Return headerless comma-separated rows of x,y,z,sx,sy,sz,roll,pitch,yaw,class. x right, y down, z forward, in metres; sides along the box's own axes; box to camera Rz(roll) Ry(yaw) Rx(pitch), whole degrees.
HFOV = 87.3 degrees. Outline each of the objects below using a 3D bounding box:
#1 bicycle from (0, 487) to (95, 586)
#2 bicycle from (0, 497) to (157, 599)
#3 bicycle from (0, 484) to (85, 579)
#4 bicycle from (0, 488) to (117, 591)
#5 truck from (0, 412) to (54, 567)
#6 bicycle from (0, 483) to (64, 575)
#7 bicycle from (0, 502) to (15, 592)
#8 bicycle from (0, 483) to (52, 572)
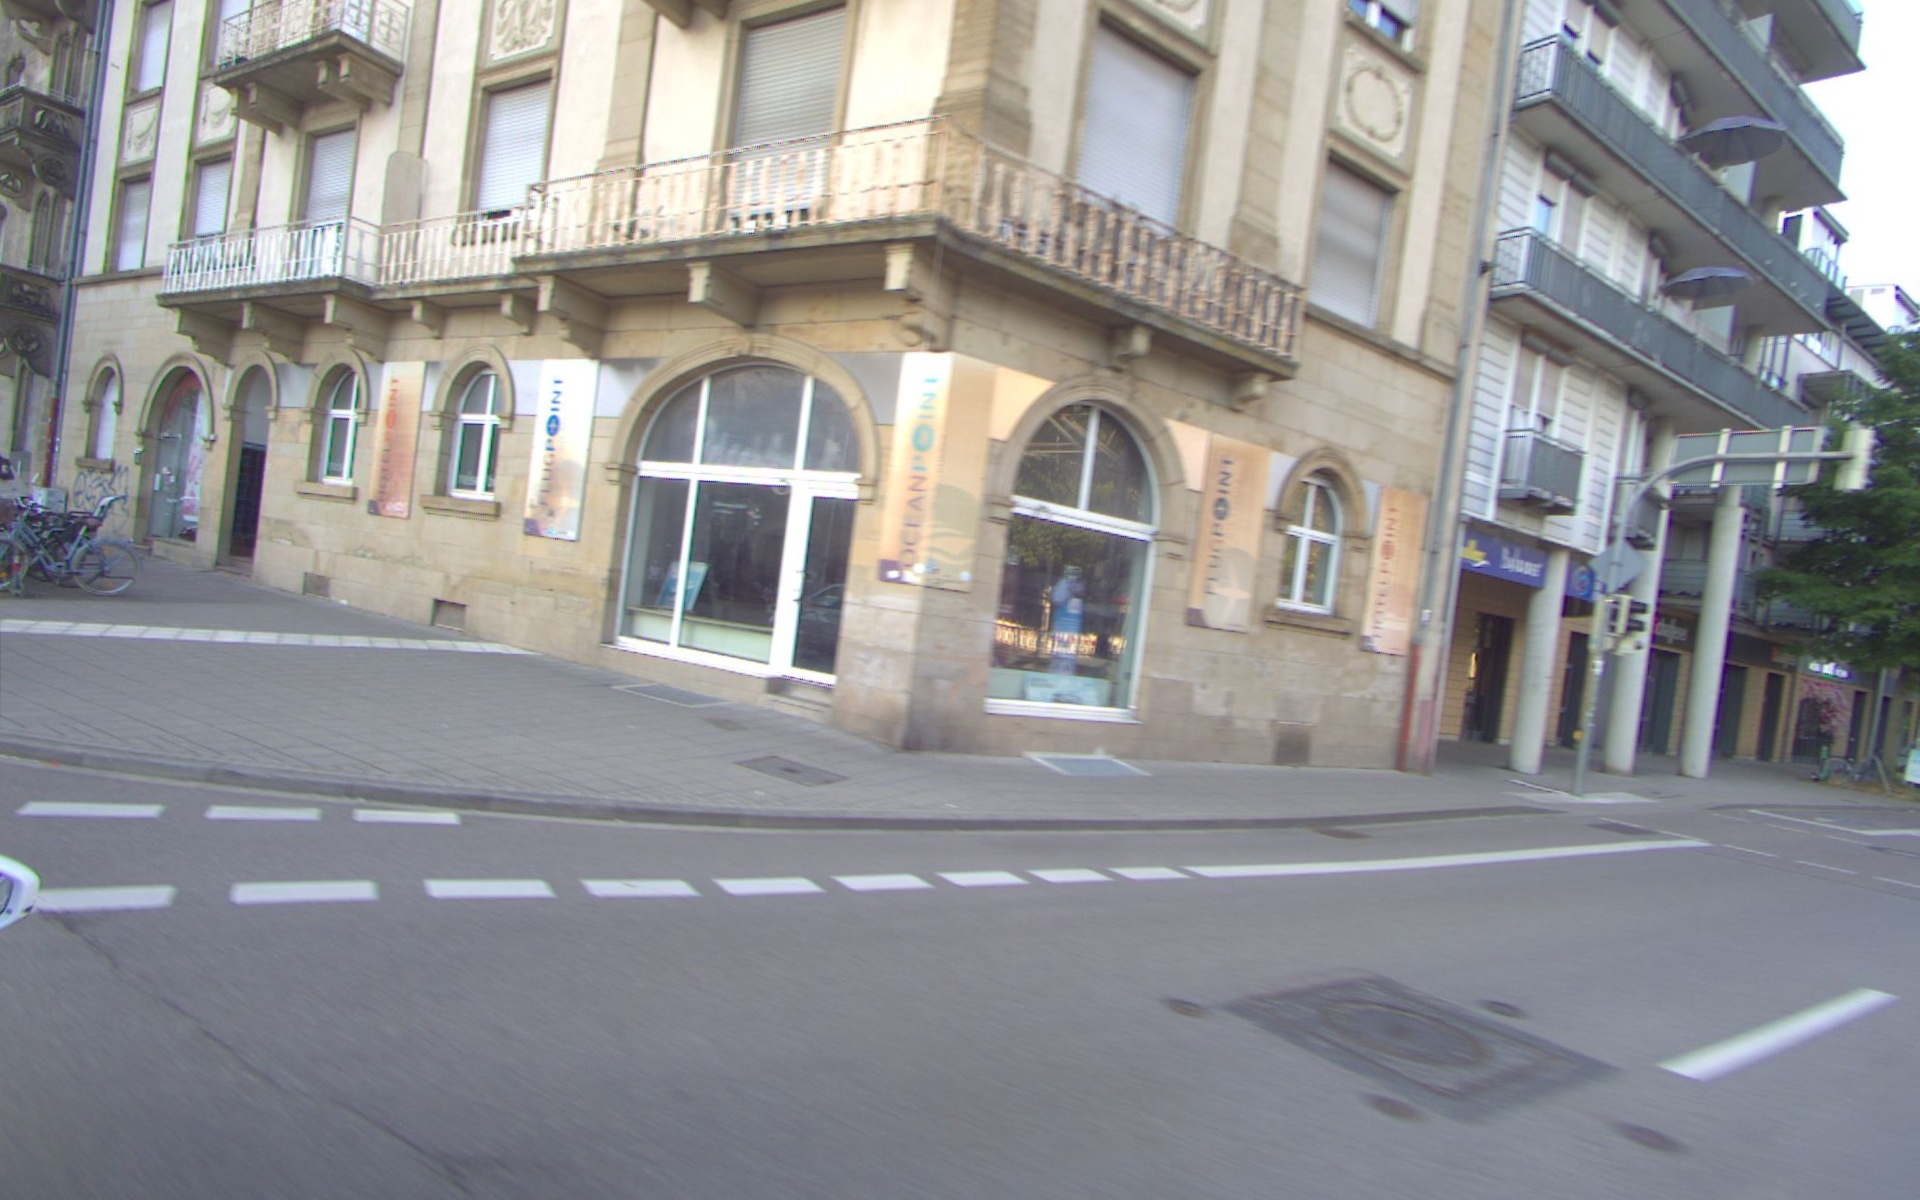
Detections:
-12.727,-0.864,13.337,0.470,1.255,1.818,8,3,31,bicycle
-11.295,-0.639,12.587,0.625,1.165,1.818,7,3,31,bicycle
-13.263,-0.963,13.812,0.405,1.255,1.818,8,3,31,bicycle
-12.125,-0.792,12.988,0.480,1.255,1.818,8,3,31,bicycle
-17.160,-2.023,15.192,2.250,2.595,5.663,8,-1,-10,truck
-13.796,-1.033,14.076,0.403,1.255,1.818,8,3,31,bicycle
-12.330,-0.675,11.835,0.312,1.098,1.727,8,3,31,bicycle
-14.253,-1.090,14.326,0.522,1.255,1.855,8,3,31,bicycle
